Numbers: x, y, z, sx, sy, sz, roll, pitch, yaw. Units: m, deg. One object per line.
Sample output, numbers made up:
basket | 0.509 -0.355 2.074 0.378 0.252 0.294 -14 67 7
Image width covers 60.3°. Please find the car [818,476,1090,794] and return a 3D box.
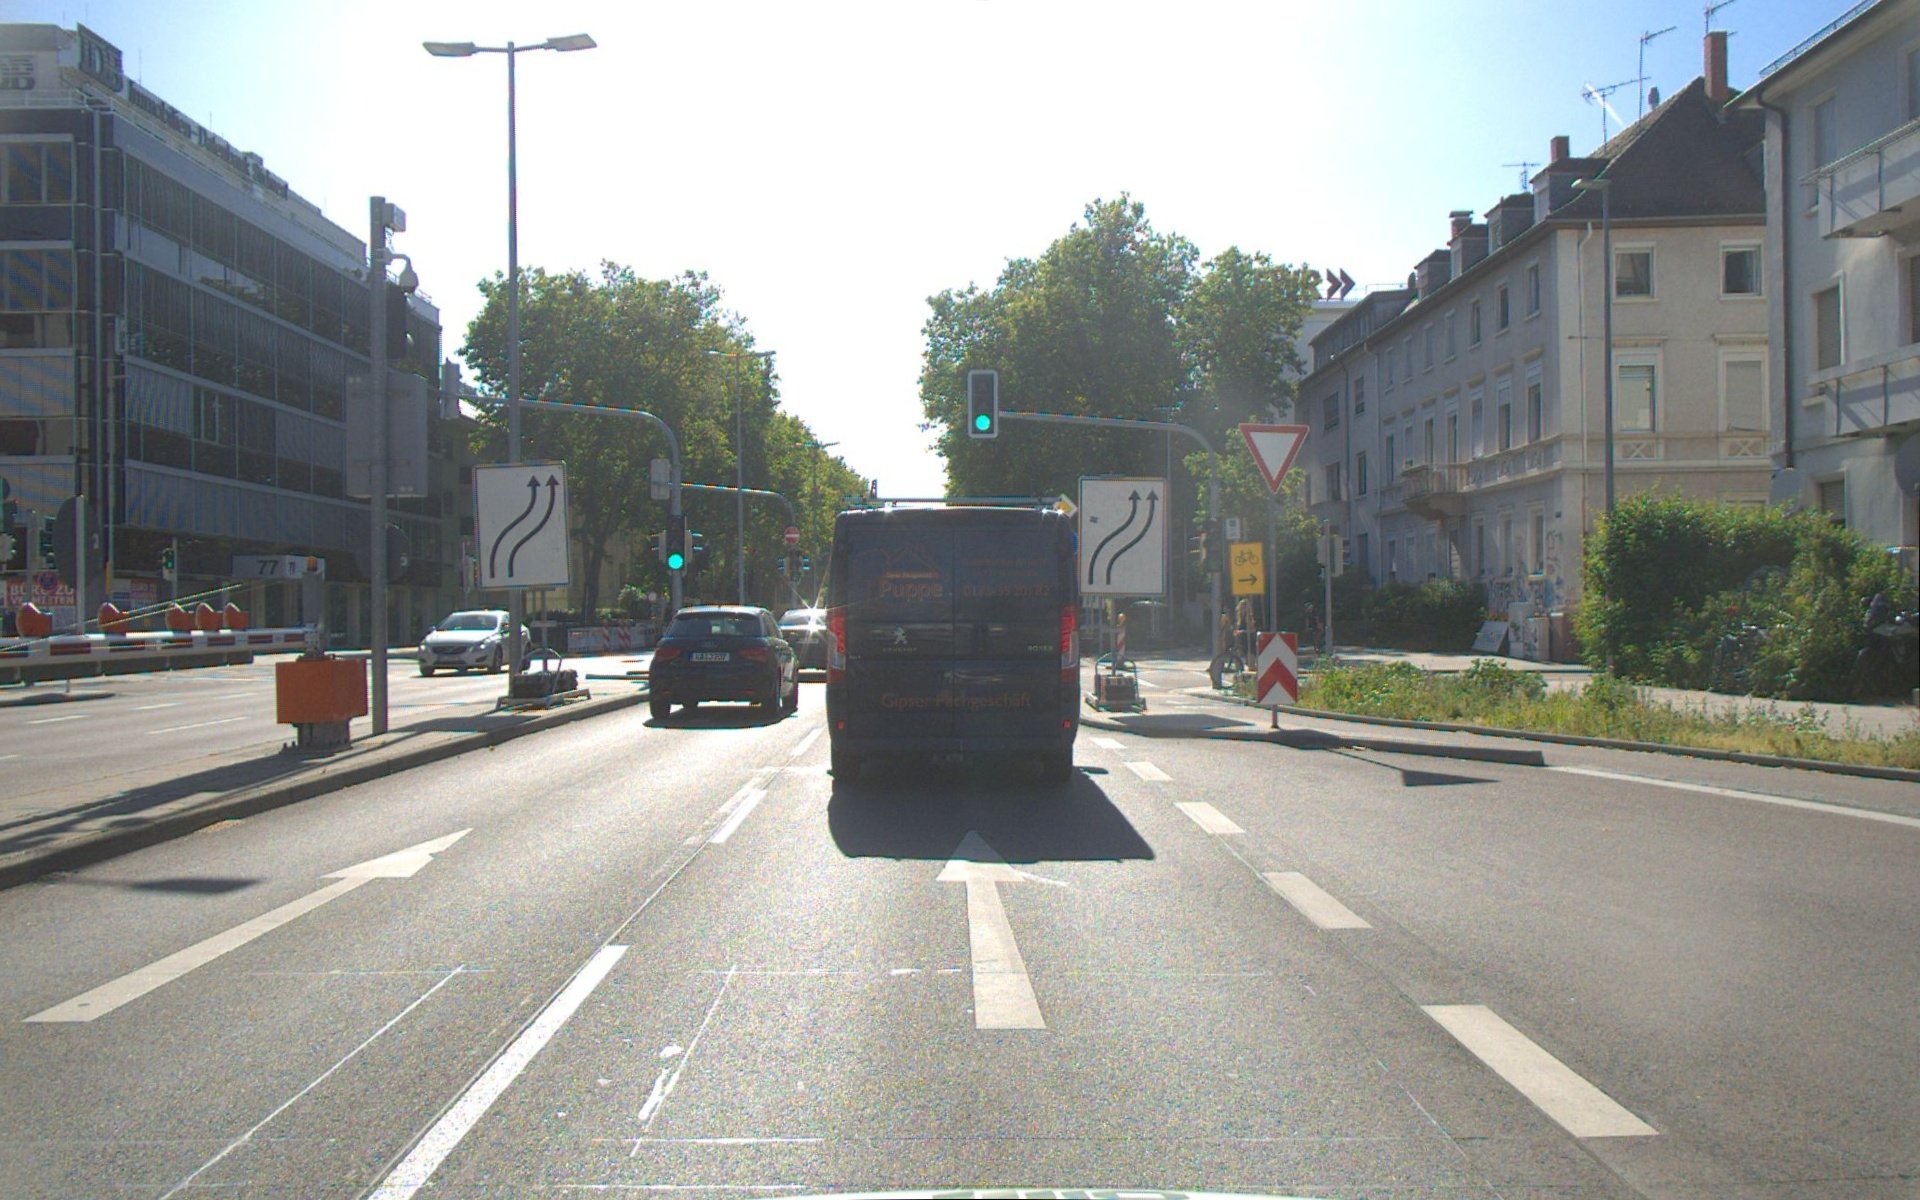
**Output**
car | -0.078 0.256 14.475 2.053 2.396 3.932 0 0 -1

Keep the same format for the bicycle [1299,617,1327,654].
bicycle | 10.911 1.090 51.067 0.674 1.117 1.688 -1 0 17

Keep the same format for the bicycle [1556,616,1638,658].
bicycle | 17.042 0.978 44.282 1.955 1.099 0.579 0 -1 1

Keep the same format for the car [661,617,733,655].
car | -10.307 1.407 65.164 1.890 1.369 4.318 -1 0 3

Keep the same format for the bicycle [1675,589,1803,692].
bicycle | 11.674 0.576 24.897 0.694 1.469 2.490 1 0 -1

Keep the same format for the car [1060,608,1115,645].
car | 5.359 1.120 70.223 1.815 1.505 4.940 0 0 -2

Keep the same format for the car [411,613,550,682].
car | -11.478 1.098 39.936 1.952 1.478 4.391 2 0 1

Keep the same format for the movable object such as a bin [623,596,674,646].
movable object such as a bin | -17.566 1.185 93.507 2.103 2.754 5.351 0 -1 -3

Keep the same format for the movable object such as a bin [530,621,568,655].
movable object such as a bin | -17.535 1.593 70.621 1.091 1.412 1.856 -1 -1 2

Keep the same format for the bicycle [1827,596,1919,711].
bicycle | 12.975 0.708 22.345 2.209 1.511 0.638 -1 0 -2

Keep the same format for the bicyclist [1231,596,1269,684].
bicyclist | 5.827 0.791 33.294 0.591 1.738 0.858 -1 0 0

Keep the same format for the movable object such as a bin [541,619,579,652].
movable object such as a bin | -17.636 1.576 72.956 1.189 1.412 1.856 -1 -1 2

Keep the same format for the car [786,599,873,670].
car | -2.833 0.719 36.520 1.711 1.432 3.998 1 0 -2

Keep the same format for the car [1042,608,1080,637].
car | 5.438 1.189 89.450 1.727 1.534 4.250 0 -1 0

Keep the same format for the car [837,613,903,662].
car | -2.902 1.196 54.178 1.872 1.469 4.602 1 0 0

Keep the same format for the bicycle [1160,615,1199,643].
bicycle | 8.172 1.061 61.528 0.577 1.023 2.125 -1 -1 34

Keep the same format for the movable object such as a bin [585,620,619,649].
movable object such as a bin | -17.311 1.653 79.966 1.381 1.361 1.157 -1 -1 2

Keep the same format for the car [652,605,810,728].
car | -3.019 0.827 22.513 1.711 1.432 3.999 1 1 -2

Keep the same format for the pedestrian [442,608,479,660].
pedestrian | -16.985 1.151 56.231 0.846 1.741 1.013 -1 0 7

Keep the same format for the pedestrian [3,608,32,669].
pedestrian | -26.868 1.090 47.143 0.691 1.687 0.739 -1 0 -31

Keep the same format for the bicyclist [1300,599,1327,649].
bicyclist | 10.921 0.748 51.110 0.708 1.526 0.871 -1 0 17

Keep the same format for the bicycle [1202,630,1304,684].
bicycle | 5.884 1.148 33.239 1.922 1.043 0.605 1 0 -1
